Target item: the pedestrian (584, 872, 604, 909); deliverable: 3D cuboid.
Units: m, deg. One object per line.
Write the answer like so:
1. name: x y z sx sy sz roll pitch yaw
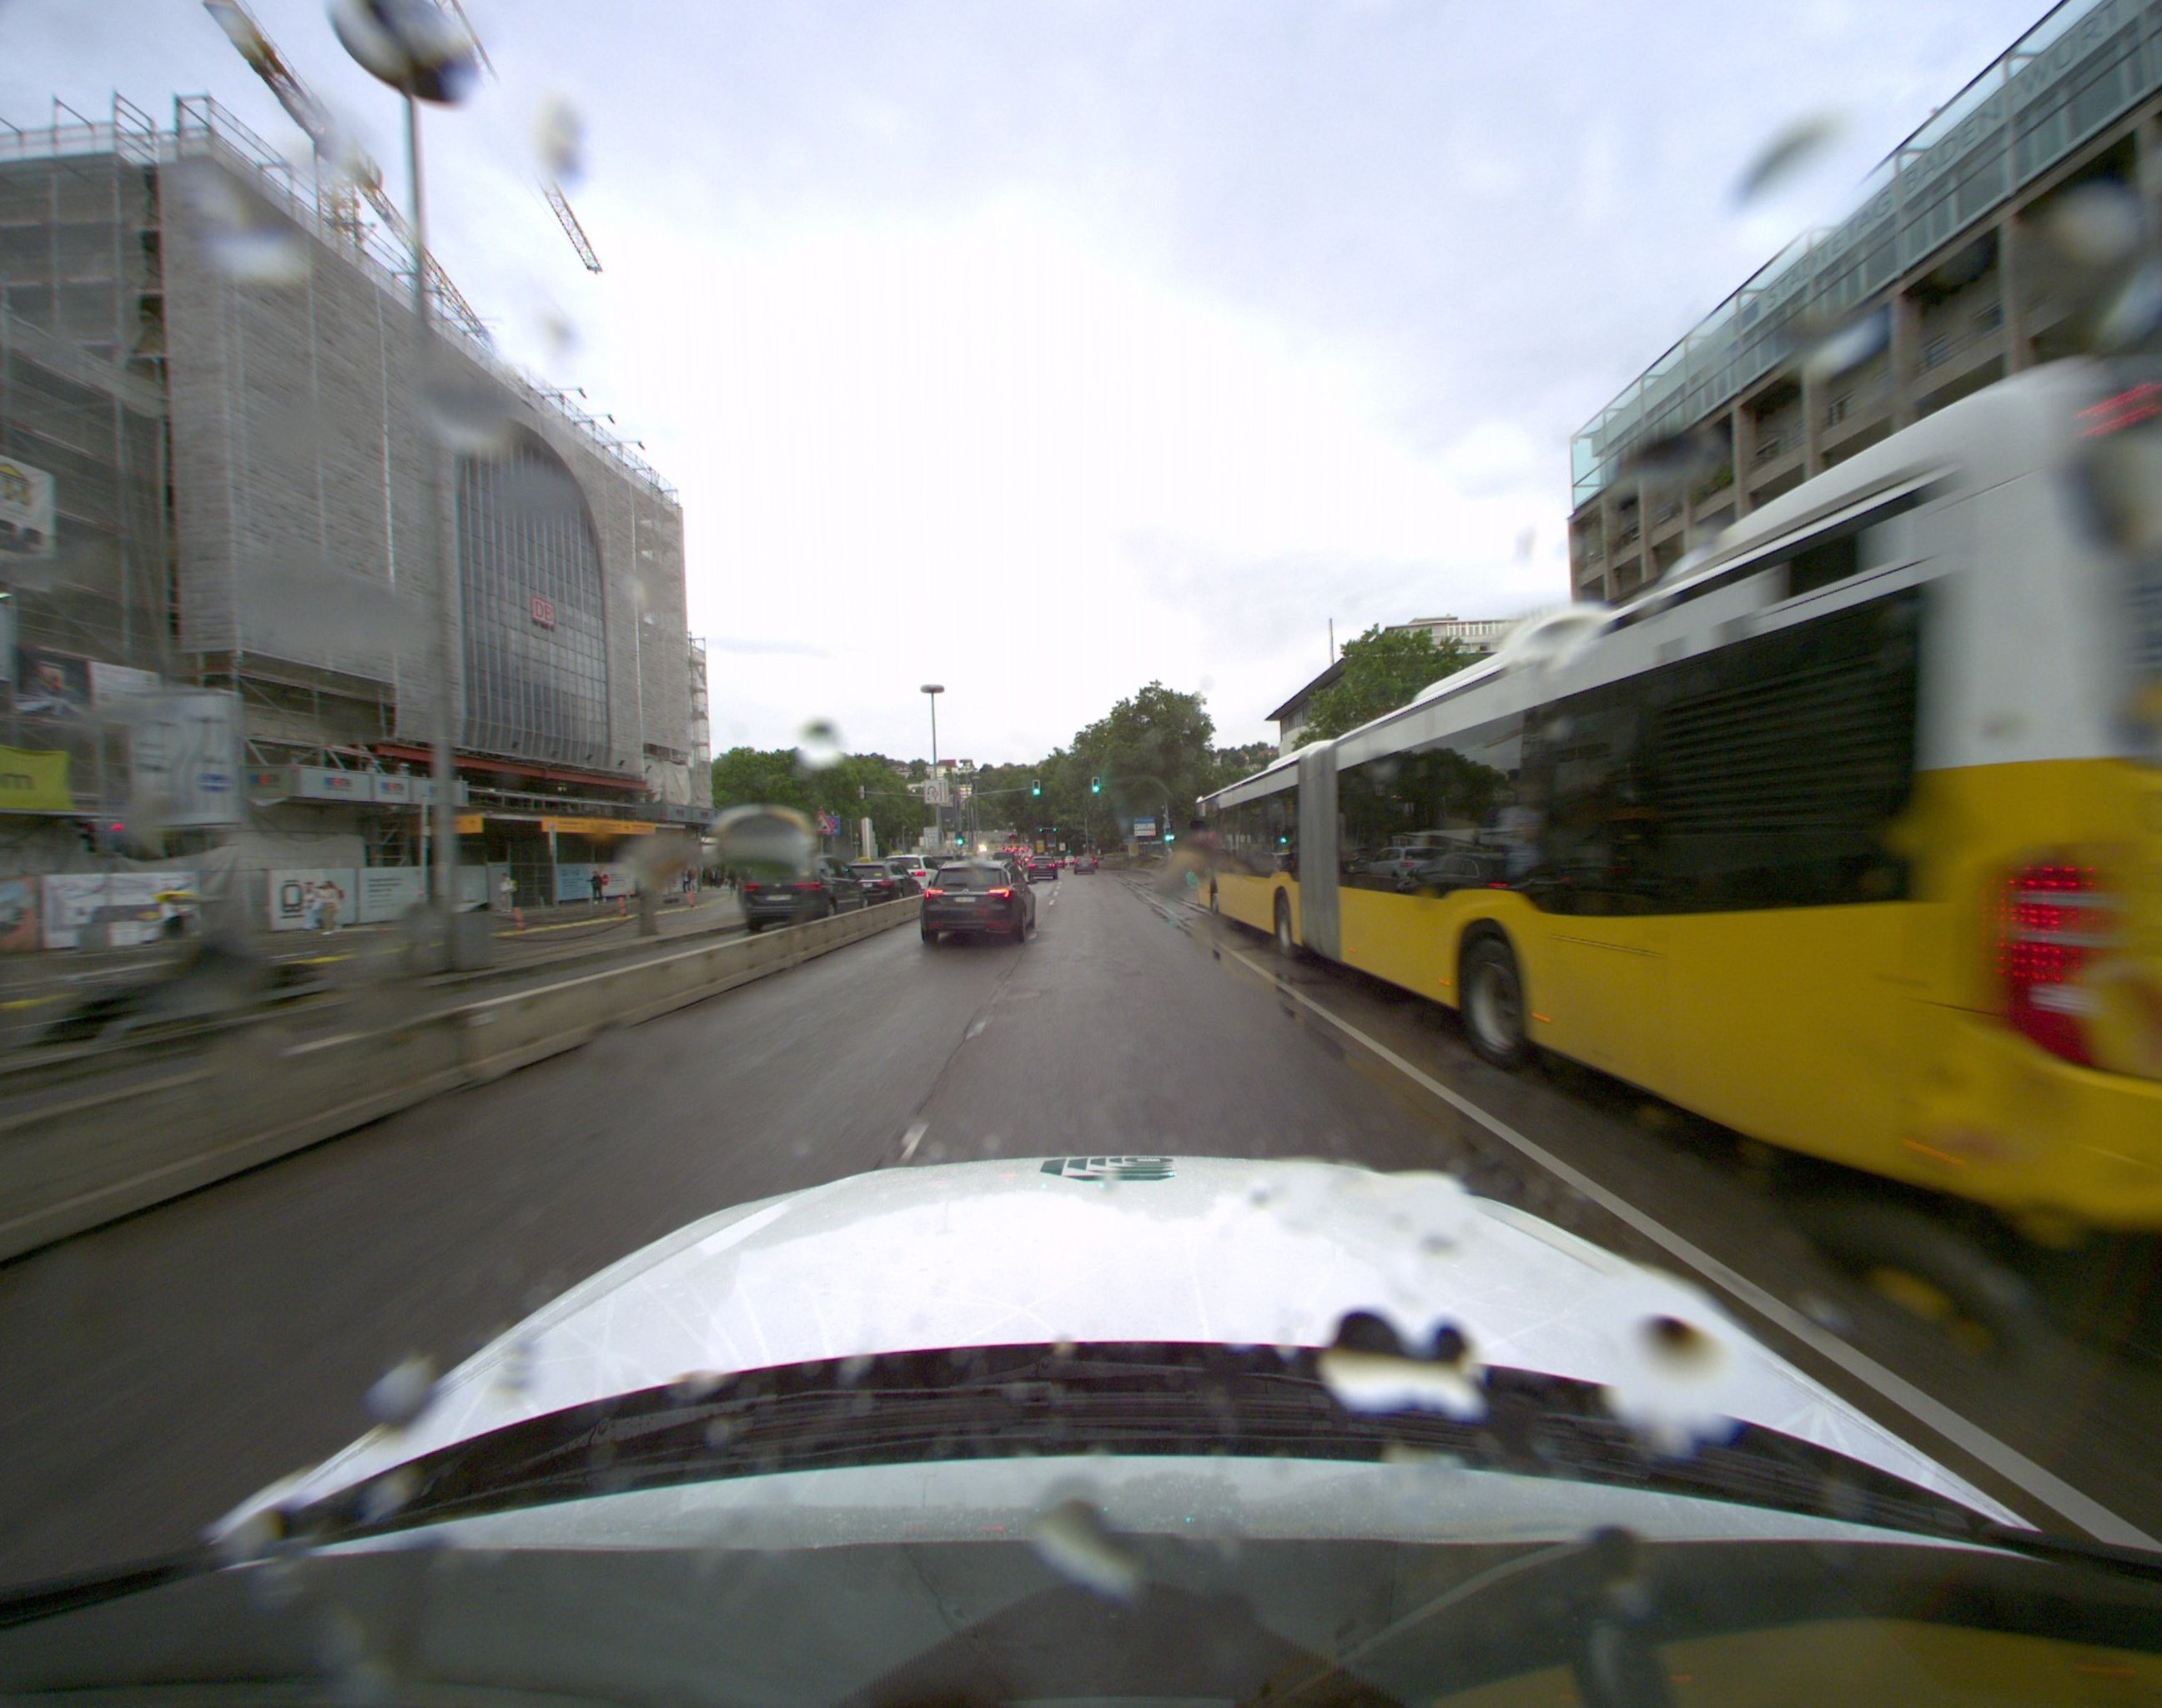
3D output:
1. pedestrian: -24.446 1.826 40.914 0.534 1.841 0.770 -2 0 -5

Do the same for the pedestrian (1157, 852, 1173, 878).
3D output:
1. pedestrian: 5.941 0.778 57.821 0.787 1.838 0.946 -2 0 -14

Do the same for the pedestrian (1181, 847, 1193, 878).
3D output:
1. pedestrian: 7.426 0.573 57.271 0.555 2.146 0.665 -2 -1 -14

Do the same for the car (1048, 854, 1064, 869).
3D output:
1. car: -2.961 0.865 97.223 1.899 1.717 3.997 -1 -1 -2

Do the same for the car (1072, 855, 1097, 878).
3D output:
1. car: 0.233 0.995 65.583 1.847 1.717 3.997 -1 -1 -2

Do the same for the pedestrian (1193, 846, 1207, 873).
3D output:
1. pedestrian: 7.985 0.377 54.816 0.542 1.804 0.751 -2 -1 -28

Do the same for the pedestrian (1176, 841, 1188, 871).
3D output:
1. pedestrian: 7.242 0.153 58.321 0.704 2.146 0.723 -3 0 10

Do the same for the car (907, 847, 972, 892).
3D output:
1. car: -6.185 0.661 36.210 1.987 1.787 4.846 -2 0 0

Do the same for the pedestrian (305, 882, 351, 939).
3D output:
1. pedestrian: -23.395 1.737 25.324 0.682 1.685 0.835 -2 0 -13

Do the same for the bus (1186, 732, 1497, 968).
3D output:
1. bus: 4.194 -0.019 15.860 3.103 3.205 9.241 -1 -1 0

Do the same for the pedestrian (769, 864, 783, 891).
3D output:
1. pedestrian: -21.340 1.617 56.994 0.695 1.841 0.528 -2 0 -2

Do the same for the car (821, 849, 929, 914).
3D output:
1. car: -6.179 0.780 25.133 2.043 1.711 5.053 -2 0 -1

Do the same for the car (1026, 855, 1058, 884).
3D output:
1. car: -2.449 0.948 51.907 1.825 1.686 4.132 -2 0 -1

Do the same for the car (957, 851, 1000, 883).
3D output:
1. car: -5.964 0.733 47.778 1.780 1.685 4.667 -3 0 1

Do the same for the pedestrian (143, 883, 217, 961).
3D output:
1. pedestrian: -22.486 1.678 20.344 0.876 1.841 0.835 -2 0 -13

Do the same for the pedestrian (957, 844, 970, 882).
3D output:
1. pedestrian: -6.399 0.485 44.347 0.526 2.013 0.890 -2 0 -2

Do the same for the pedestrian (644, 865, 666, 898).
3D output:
1. pedestrian: -24.759 1.591 47.323 0.776 1.841 0.771 -2 0 0

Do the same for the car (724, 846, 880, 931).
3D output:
1. car: -6.265 0.715 18.945 1.987 1.654 4.640 -3 0 -1

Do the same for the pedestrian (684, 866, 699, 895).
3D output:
1. pedestrian: -24.942 1.693 52.207 0.675 1.841 0.717 -2 0 -13

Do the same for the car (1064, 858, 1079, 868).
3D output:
1. car: -1.651 1.519 137.475 1.814 1.574 3.986 -1 -1 -10

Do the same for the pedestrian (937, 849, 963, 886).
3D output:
1. pedestrian: -7.242 0.735 45.002 0.825 2.013 1.034 -2 0 38

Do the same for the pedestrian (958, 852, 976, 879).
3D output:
1. pedestrian: -8.136 0.805 57.932 0.995 1.886 0.686 -2 0 22

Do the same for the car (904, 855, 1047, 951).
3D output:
1. car: -1.826 0.804 15.671 1.870 1.508 4.855 -2 0 2

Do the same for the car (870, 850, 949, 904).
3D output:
1. car: -6.269 0.795 30.213 1.988 1.787 4.451 -2 0 -1

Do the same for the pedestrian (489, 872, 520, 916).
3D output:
1. pedestrian: -24.877 1.710 35.136 0.772 1.841 0.831 -2 0 -13

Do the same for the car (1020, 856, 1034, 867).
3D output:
1. car: -9.398 1.280 140.977 1.993 1.827 3.986 -1 -1 -10

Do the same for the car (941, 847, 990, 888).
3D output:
1. car: -5.821 0.651 41.498 1.708 1.892 4.609 -2 0 0

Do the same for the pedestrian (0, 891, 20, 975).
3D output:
1. pedestrian: -24.343 1.776 18.112 0.571 1.841 0.701 -2 0 -13

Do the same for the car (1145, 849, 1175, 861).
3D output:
1. car: 10.601 0.175 109.474 3.572 1.506 1.745 -2 -1 39

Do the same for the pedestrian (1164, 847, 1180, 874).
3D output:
1. pedestrian: 6.153 0.426 55.085 0.746 1.804 0.706 -2 -1 -14

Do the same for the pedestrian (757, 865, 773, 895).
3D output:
1. pedestrian: -20.465 1.680 52.699 0.636 1.841 0.775 -2 0 0

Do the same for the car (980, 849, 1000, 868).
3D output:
1. car: -10.474 0.520 94.087 1.990 2.014 5.361 -1 -1 -5

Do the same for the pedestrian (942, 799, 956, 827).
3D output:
1. pedestrian: -9.009 -2.806 55.567 0.830 1.886 0.689 -2 2 -10

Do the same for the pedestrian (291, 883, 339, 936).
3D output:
1. pedestrian: -24.403 1.747 25.953 0.673 1.613 0.839 -2 0 3

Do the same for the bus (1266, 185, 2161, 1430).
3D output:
1. bus: 4.061 -0.125 6.692 3.130 3.247 9.136 -1 -1 1

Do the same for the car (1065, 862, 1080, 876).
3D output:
1. car: -0.941 1.700 92.342 1.669 1.581 3.239 -1 -1 0

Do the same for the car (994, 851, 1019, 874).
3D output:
1. car: -6.306 0.745 69.387 1.989 1.845 5.056 -1 -1 -3

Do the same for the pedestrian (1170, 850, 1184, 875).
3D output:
1. pedestrian: 6.666 0.591 56.526 0.872 1.691 0.758 -2 0 0

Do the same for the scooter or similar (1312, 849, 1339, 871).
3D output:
1. scooter or similar: 14.235 0.339 47.469 1.352 1.231 0.573 -2 -1 45

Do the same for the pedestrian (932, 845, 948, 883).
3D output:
1. pedestrian: -7.599 0.533 43.902 0.619 2.013 0.836 -2 0 0
